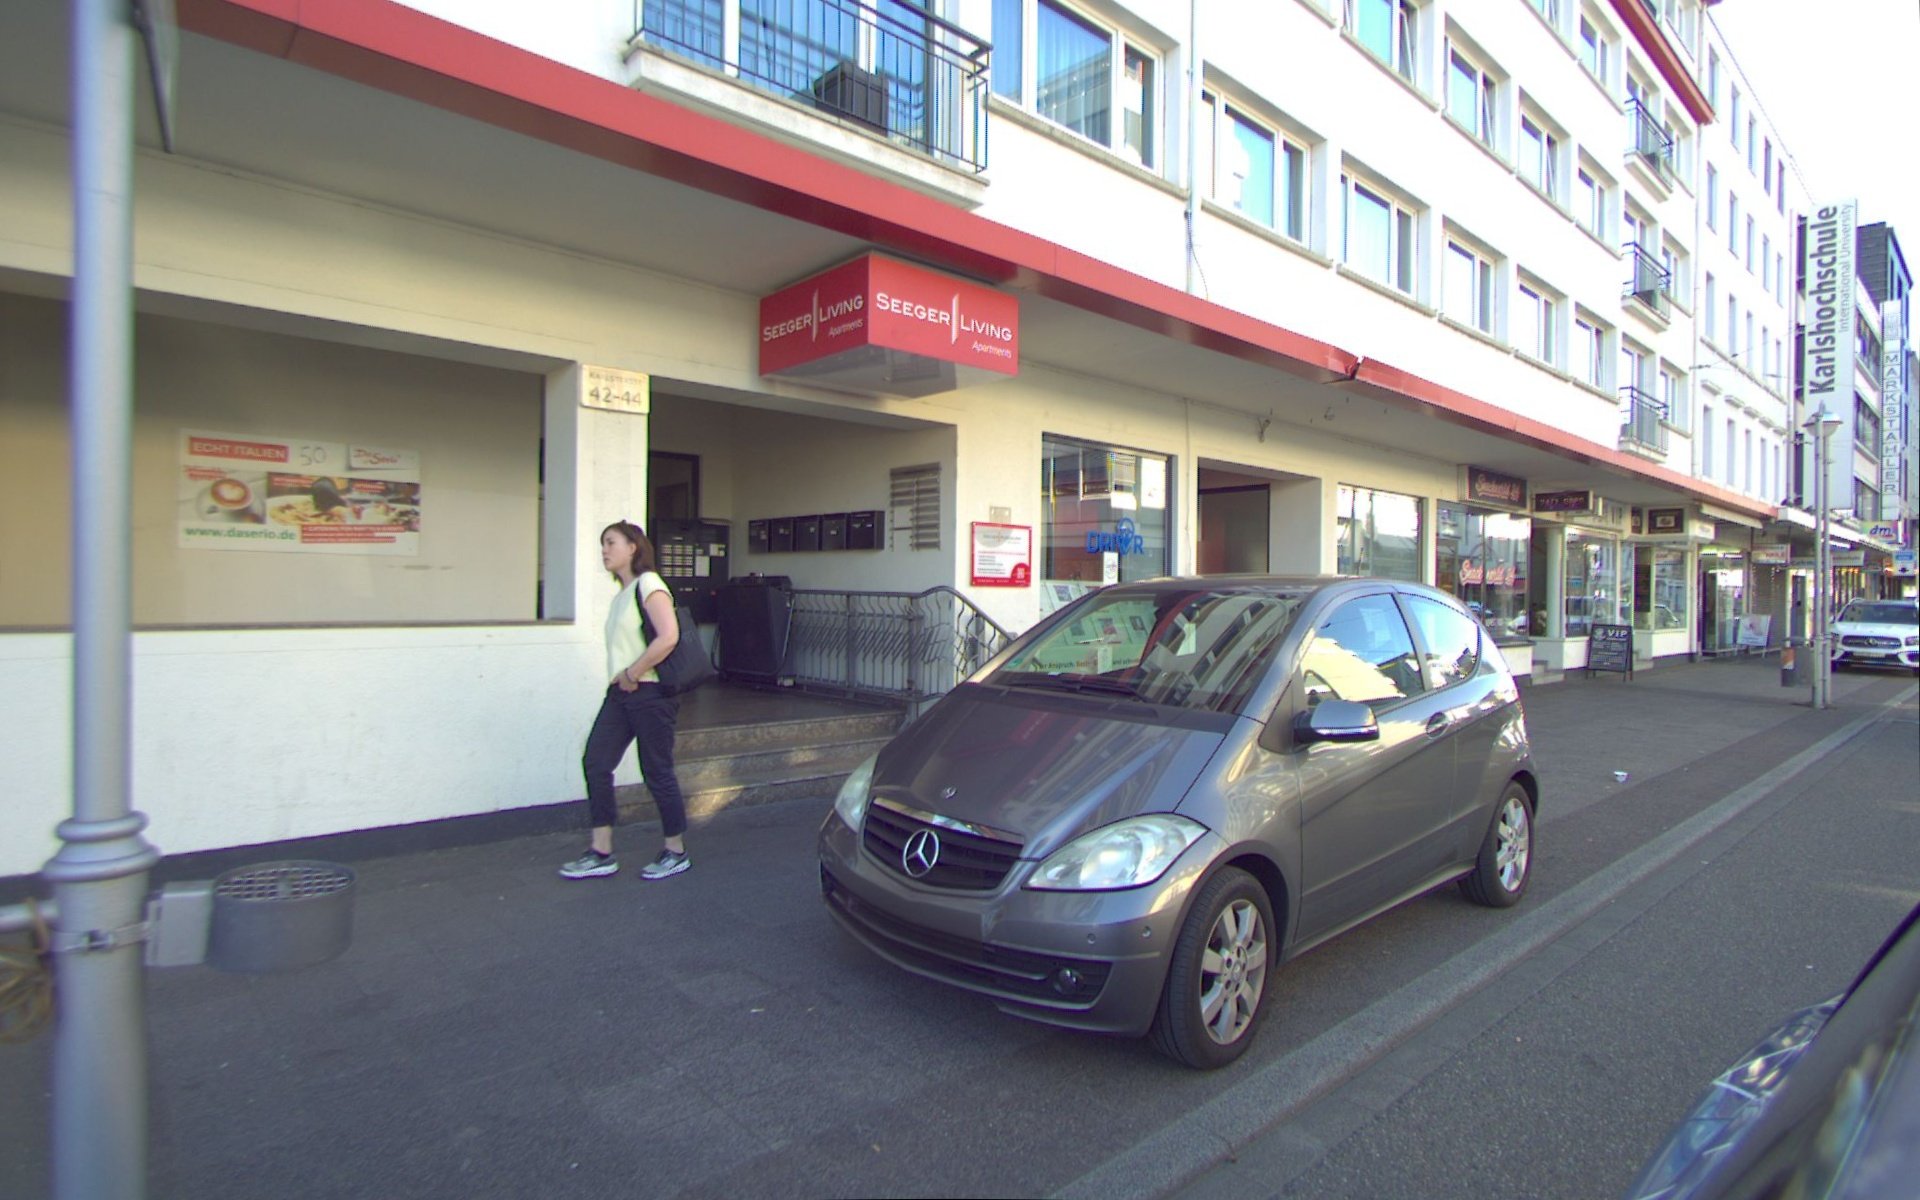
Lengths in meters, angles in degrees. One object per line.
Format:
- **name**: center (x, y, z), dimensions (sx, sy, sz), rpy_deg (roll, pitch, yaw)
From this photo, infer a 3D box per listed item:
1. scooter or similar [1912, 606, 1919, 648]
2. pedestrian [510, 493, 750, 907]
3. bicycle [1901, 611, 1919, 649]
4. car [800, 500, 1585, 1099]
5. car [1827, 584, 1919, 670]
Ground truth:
- **scooter or similar**: center (28.918, 0.821, 29.967), dimensions (0.314, 1.247, 0.994), rpy_deg (0, 2, -43)
- **pedestrian**: center (-1.632, 0.426, 4.988), dimensions (0.915, 1.797, 0.806), rpy_deg (0, 0, -37)
- **bicycle**: center (28.561, 0.900, 29.854), dimensions (0.314, 1.093, 1.132), rpy_deg (0, 2, -43)
- **car**: center (1.274, 0.530, 4.646), dimensions (3.586, 1.652, 1.748), rpy_deg (1, 1, -42)
- **car**: center (21.568, 0.550, 23.278), dimensions (5.105, 1.745, 1.852), rpy_deg (0, 3, -43)
